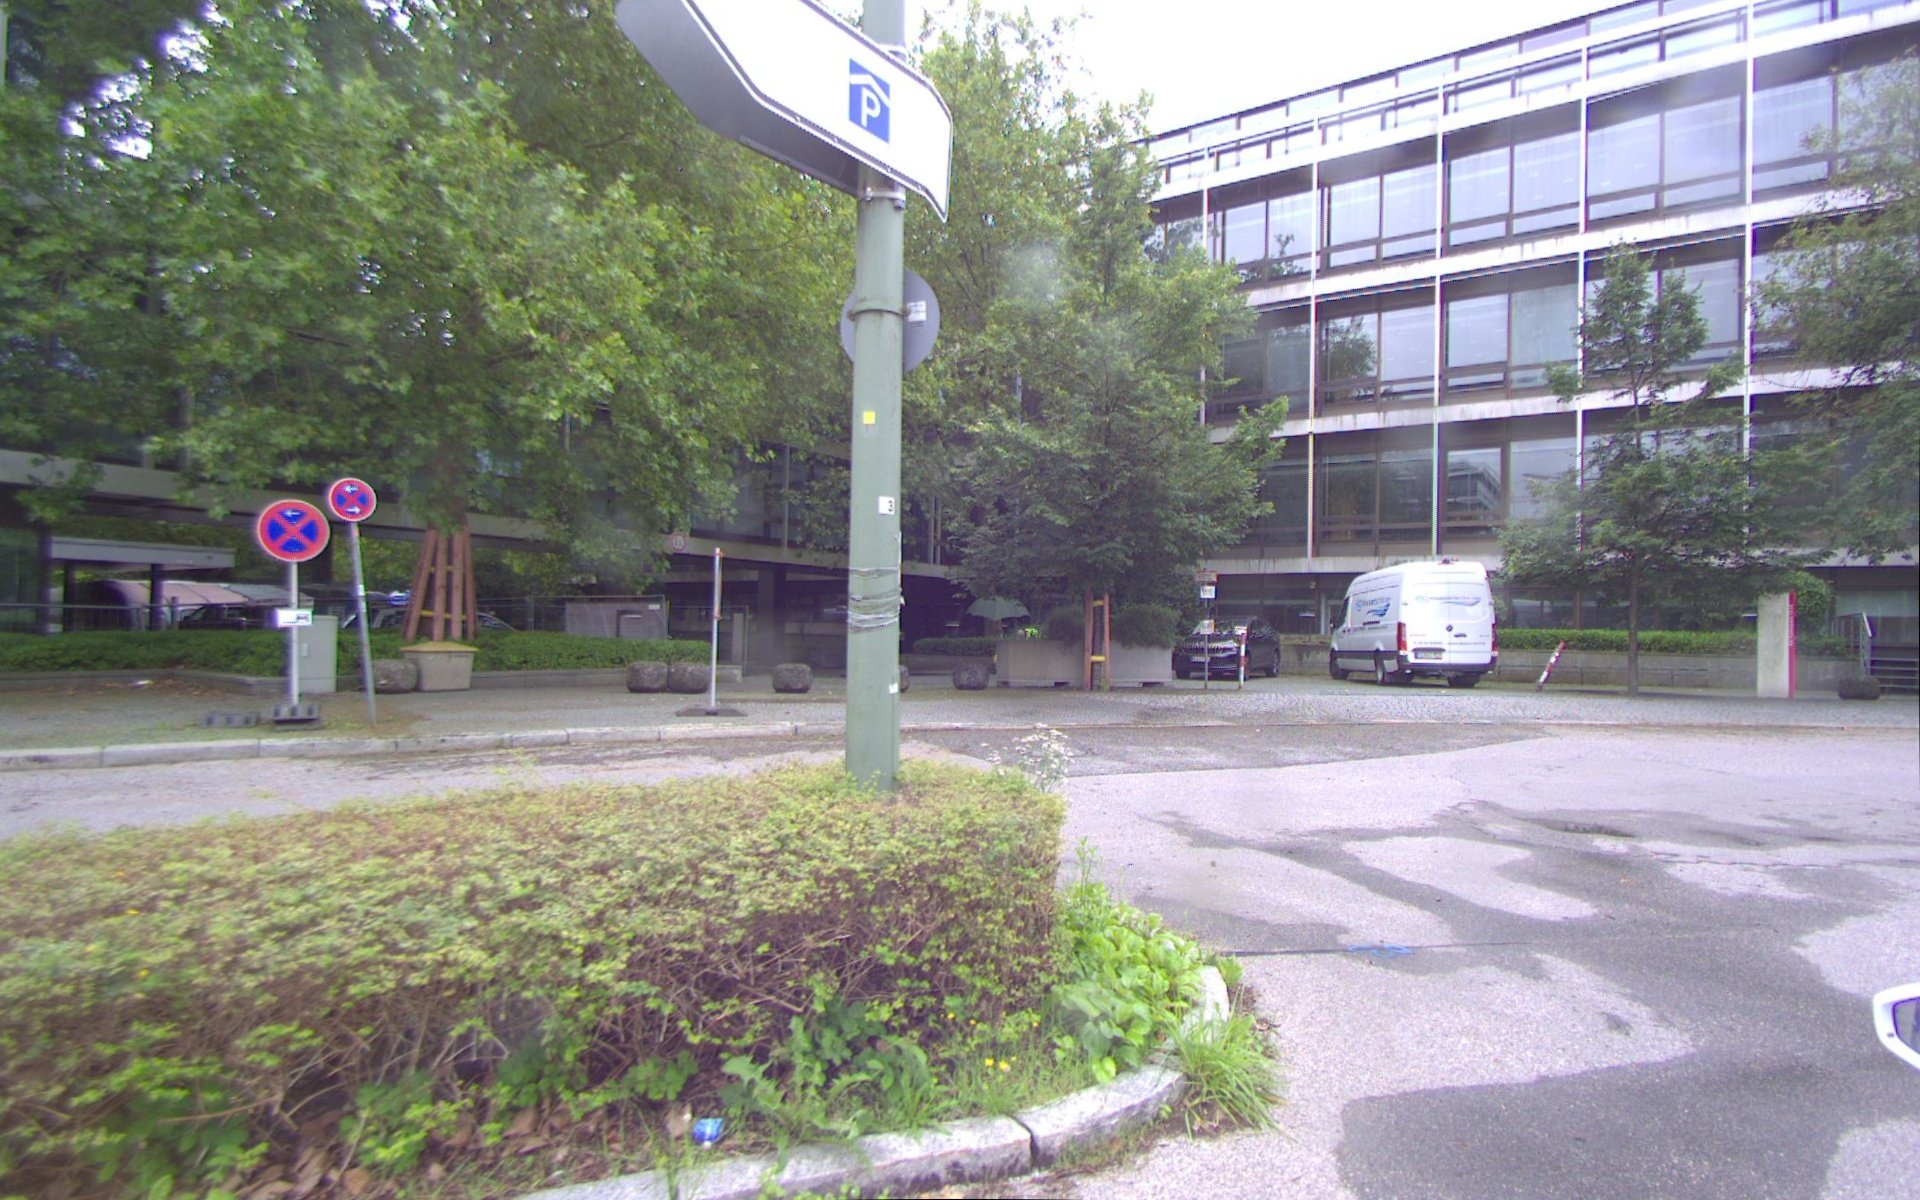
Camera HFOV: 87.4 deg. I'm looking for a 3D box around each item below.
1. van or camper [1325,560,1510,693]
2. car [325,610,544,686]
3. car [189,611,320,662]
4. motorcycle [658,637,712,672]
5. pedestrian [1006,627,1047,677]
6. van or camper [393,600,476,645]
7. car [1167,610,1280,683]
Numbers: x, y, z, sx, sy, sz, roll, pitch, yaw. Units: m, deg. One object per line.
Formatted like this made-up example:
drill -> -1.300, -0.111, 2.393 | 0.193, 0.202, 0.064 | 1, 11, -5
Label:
van or camper -> 10.364, 0.693, 23.421 | 2.119, 2.614, 6.545 | 1, -3, 8
car -> -11.451, 1.012, 22.105 | 1.881, 1.493, 3.849 | 0, -2, 34
car -> -22.606, 1.143, 32.194 | 3.790, 1.493, 1.910 | 0, -1, 28
motorcycle -> -8.826, 1.748, 32.268 | 1.665, 1.069, 0.670 | 1, -1, -16
pedestrian -> 1.751, 1.363, 26.611 | 0.914, 1.295, 0.540 | 1, -1, 36
van or camper -> -31.367, 1.334, 59.956 | 4.567, 2.630, 2.275 | 0, -2, 29
car -> 7.061, 1.186, 26.603 | 1.913, 1.744, 4.232 | 0, -2, 29
